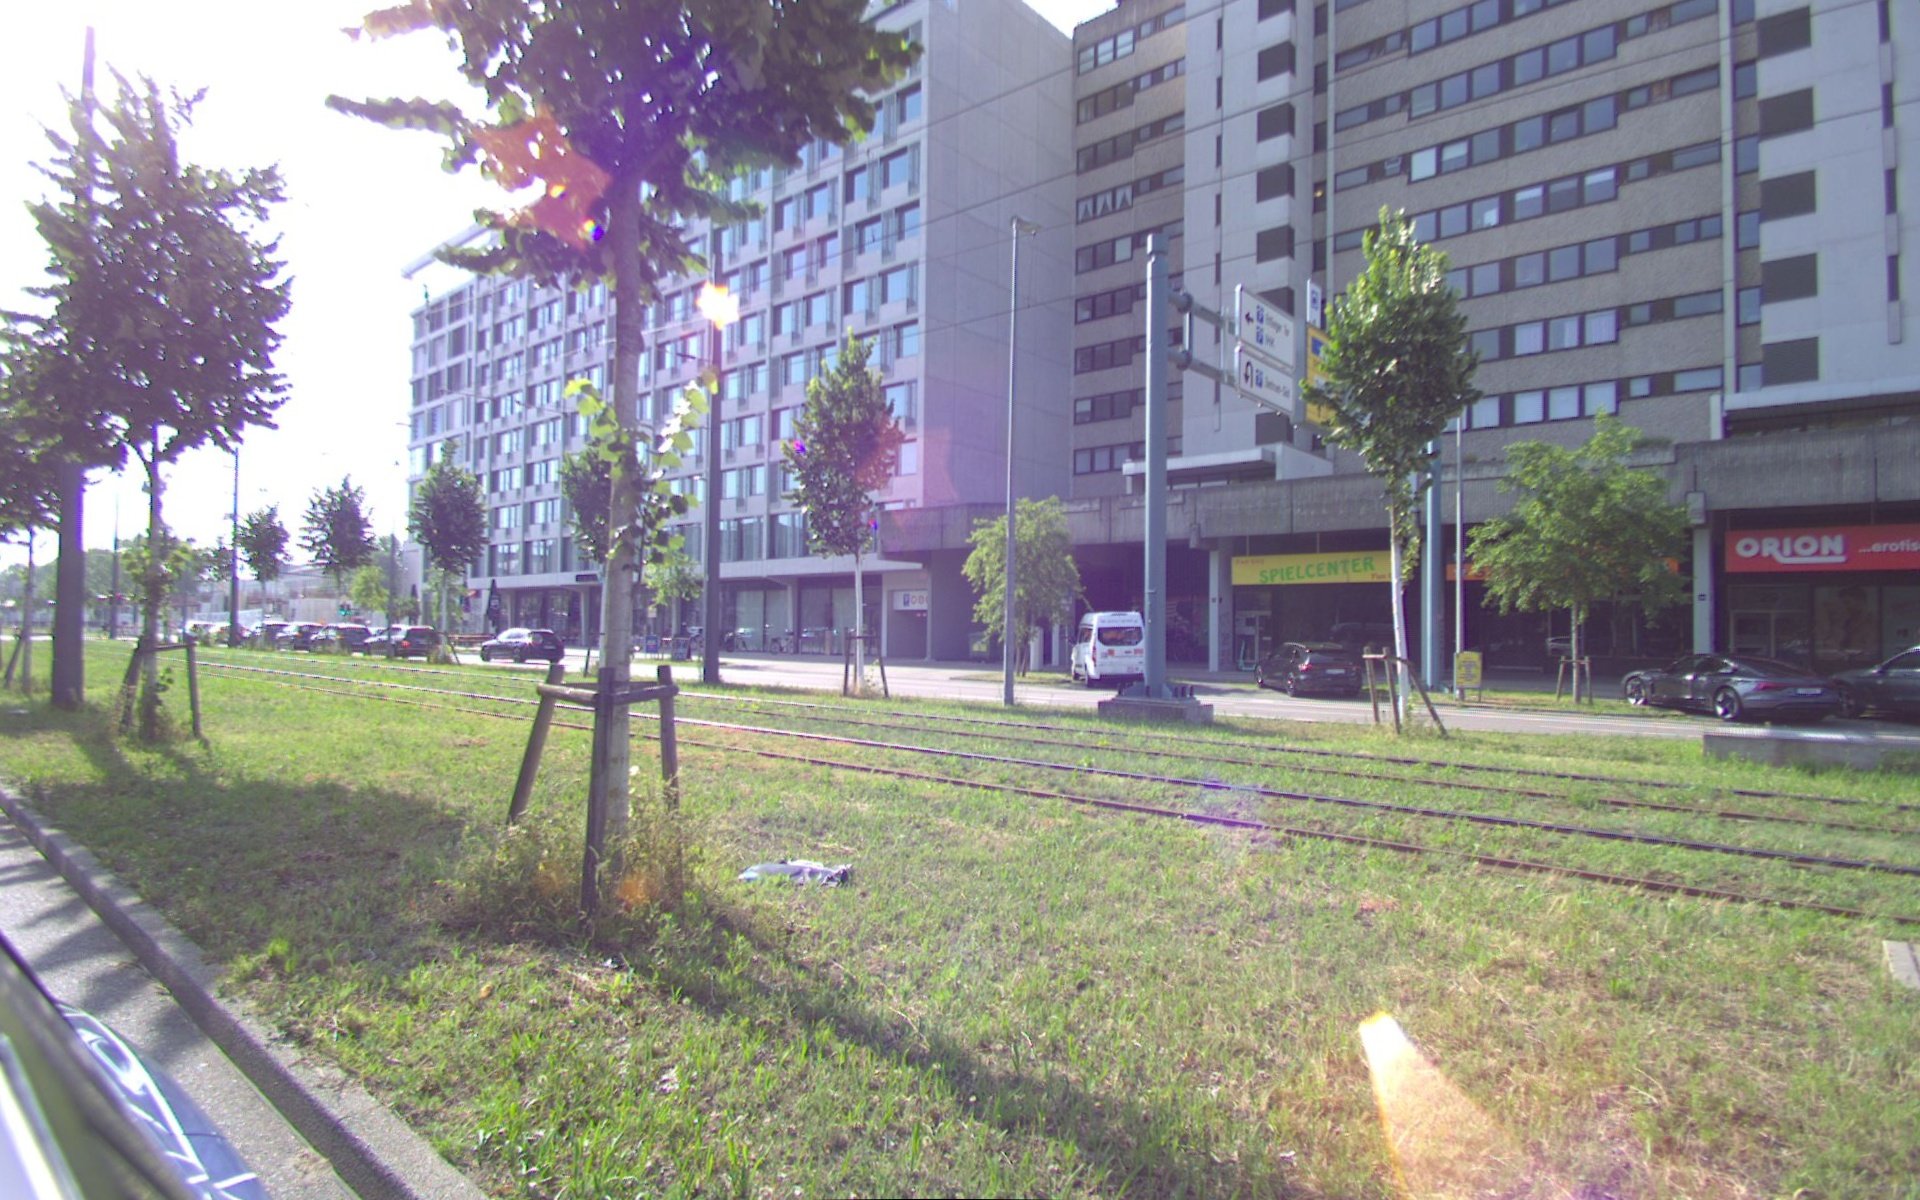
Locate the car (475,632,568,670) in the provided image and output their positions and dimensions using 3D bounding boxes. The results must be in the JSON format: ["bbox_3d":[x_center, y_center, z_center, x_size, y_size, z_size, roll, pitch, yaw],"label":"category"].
[{"bbox_3d":[-18.704,2.121,43.089,4.418,1.502,1.972,-1,-3,42],"label":"car"}]

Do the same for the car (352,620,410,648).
[{"bbox_3d":[-34.858,2.027,60.917,4.001,1.586,1.971,-1,-3,44],"label":"car"}]

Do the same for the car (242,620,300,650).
[{"bbox_3d":[-37.569,1.900,55.149,4.001,1.586,1.787,-1,-3,44],"label":"car"}]

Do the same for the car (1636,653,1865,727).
[{"bbox_3d":[17.139,1.905,22.248,1.854,1.253,4.109,-1,0,2],"label":"car"}]

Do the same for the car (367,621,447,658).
[{"bbox_3d":[-23.142,1.622,42.262,4.001,1.492,1.787,-1,-3,44],"label":"car"}]

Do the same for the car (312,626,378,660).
[{"bbox_3d":[-28.723,1.985,47.245,3.642,1.498,1.722,-1,-3,44],"label":"car"}]

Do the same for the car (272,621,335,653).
[{"bbox_3d":[-33.443,1.854,51.549,4.001,1.586,1.787,-1,-3,44],"label":"car"}]

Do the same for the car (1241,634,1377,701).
[{"bbox_3d":[9.718,1.834,28.546,2.070,1.594,4.005,-1,-1,-6],"label":"car"}]

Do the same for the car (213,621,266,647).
[{"bbox_3d":[-42.317,1.997,59.391,4.001,1.486,1.787,-1,-3,44],"label":"car"}]

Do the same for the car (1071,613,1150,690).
[{"bbox_3d":[4.871,1.652,33.461,1.859,2.326,5.406,1,-2,1],"label":"car"}]

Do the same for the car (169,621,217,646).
[{"bbox_3d":[-50.351,2.192,66.415,3.999,1.536,1.763,-1,-3,42],"label":"car"}]

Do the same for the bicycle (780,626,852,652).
[{"bbox_3d":[-7.916,2.174,55.855,3.936,1.377,1.128,2,-3,-40],"label":"bicycle"}]

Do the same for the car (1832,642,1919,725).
[{"bbox_3d":[19.841,1.668,19.907,1.854,1.618,4.109,1,-2,2],"label":"car"}]
